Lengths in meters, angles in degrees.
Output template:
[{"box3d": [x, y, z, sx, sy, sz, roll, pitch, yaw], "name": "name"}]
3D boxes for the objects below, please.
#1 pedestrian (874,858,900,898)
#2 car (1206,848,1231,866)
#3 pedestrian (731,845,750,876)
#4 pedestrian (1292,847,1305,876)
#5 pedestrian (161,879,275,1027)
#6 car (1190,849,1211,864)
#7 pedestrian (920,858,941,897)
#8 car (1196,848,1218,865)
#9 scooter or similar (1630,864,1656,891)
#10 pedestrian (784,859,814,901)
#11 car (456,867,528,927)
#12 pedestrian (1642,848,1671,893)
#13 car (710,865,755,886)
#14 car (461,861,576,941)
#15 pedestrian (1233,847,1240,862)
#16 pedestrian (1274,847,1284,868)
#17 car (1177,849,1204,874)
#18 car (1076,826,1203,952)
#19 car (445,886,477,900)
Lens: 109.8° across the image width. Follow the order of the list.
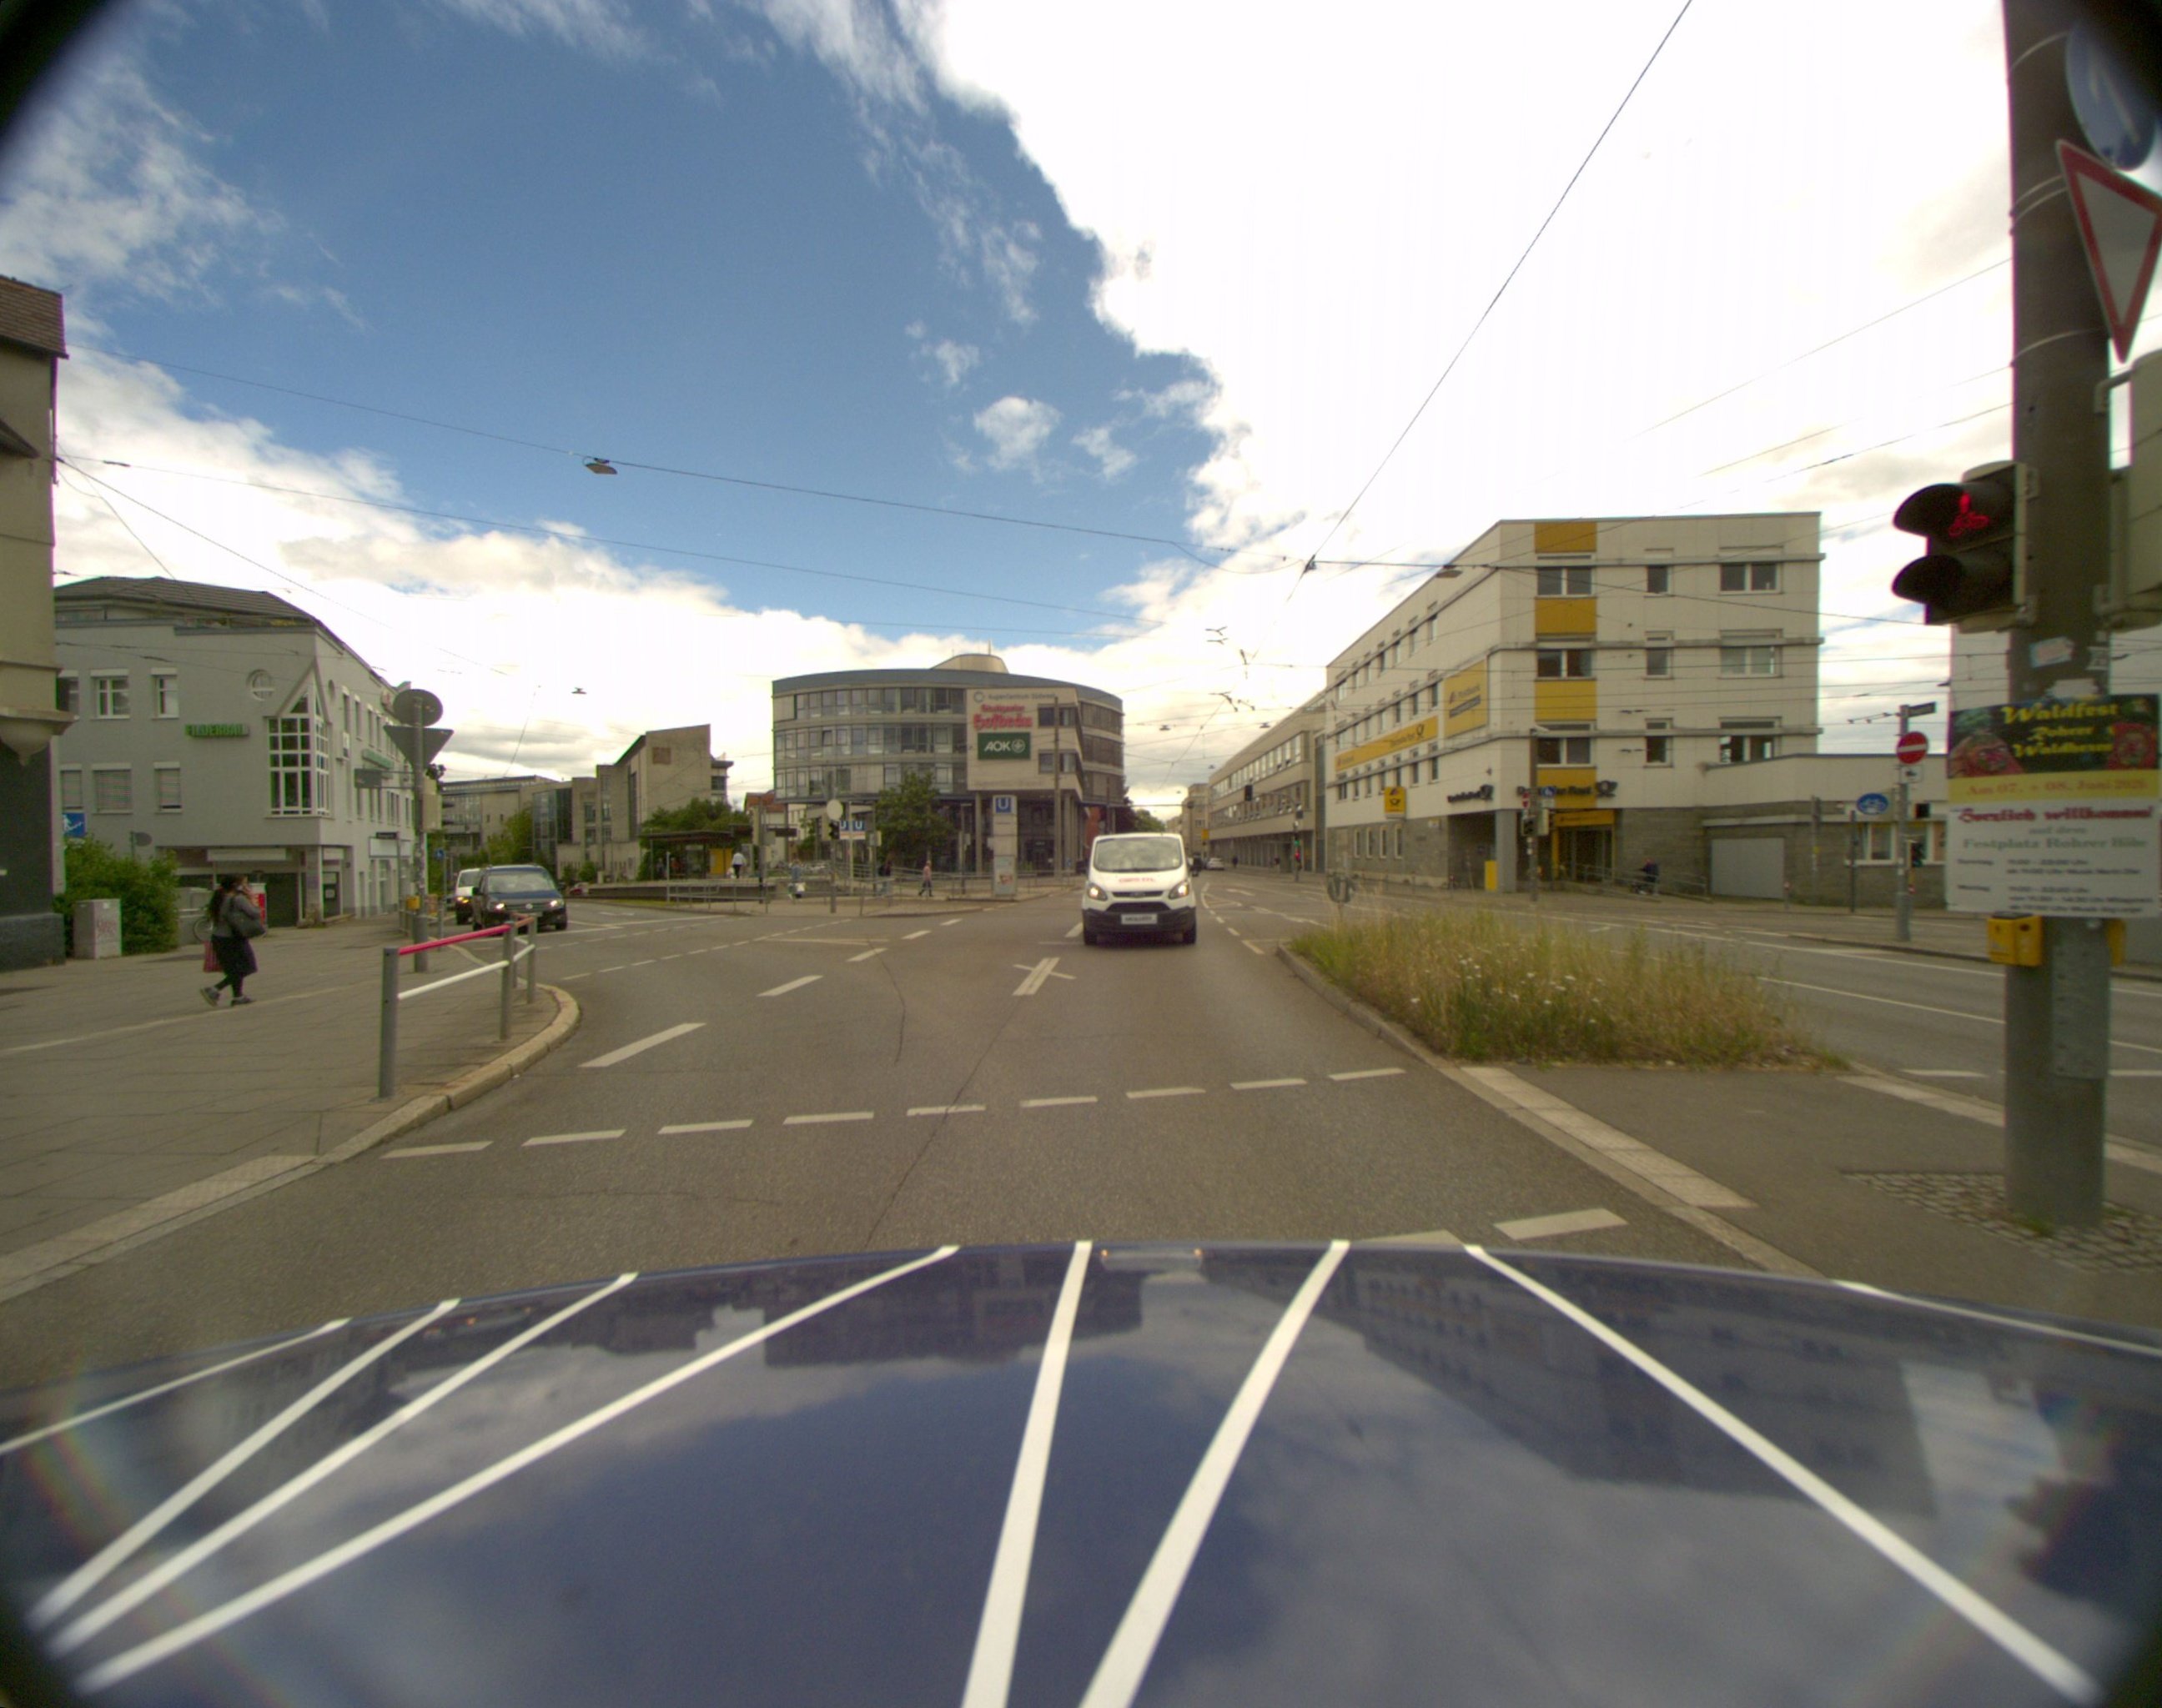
[{"box3d": [-8.394, 1.035, 32.869, 0.847, 1.625, 0.644, -4, 0, -31], "name": "pedestrian"}, {"box3d": [16.207, 0.359, 89.777, 1.998, 2.002, 4.486, -2, 0, 0], "name": "car"}, {"box3d": [-19.726, 0.374, 44.005, 0.613, 1.734, 0.697, -4, 1, 38], "name": "pedestrian"}, {"box3d": [14.001, 0.480, 48.930, 0.587, 1.792, 0.526, -4, 0, 2], "name": "pedestrian"}, {"box3d": [-10.111, 1.121, 8.932, 0.589, 1.613, 0.743, -4, 0, -29], "name": "pedestrian"}, {"box3d": [16.002, 0.309, 101.821, 1.998, 2.002, 4.486, -2, 0, 0], "name": "car"}, {"box3d": [-6.521, 1.032, 32.920, 0.589, 1.625, 0.525, -4, 1, -43], "name": "pedestrian"}, {"box3d": [15.894, 0.337, 95.979, 1.998, 2.002, 4.486, -2, 0, 0], "name": "car"}, {"box3d": [21.091, 0.890, 28.531, 0.508, 0.971, 0.617, -1, 1, -1], "name": "scooter or similar"}, {"box3d": [-11.333, 1.039, 30.495, 0.808, 1.637, 0.885, -2, 1, -43], "name": "pedestrian"}, {"box3d": [-21.444, 1.473, 27.769, 1.884, 1.884, 4.914, -2, 1, -37], "name": "car"}, {"box3d": [21.128, 0.597, 27.894, 0.587, 1.625, 0.615, -1, 1, 2], "name": "pedestrian"}, {"box3d": [-30.244, 1.882, 65.891, 4.306, 1.700, 2.004, -1, 0, 43], "name": "car"}, {"box3d": [-15.519, 1.176, 20.835, 1.884, 1.884, 4.914, -2, 1, -44], "name": "car"}, {"box3d": [18.890, 0.043, 92.279, 0.587, 1.792, 0.526, -4, 0, 2], "name": "pedestrian"}, {"box3d": [16.779, 0.307, 64.348, 0.587, 1.792, 0.526, -4, 0, 2], "name": "pedestrian"}, {"box3d": [9.156, 0.609, 63.774, 1.997, 2.002, 4.488, -2, 0, 6], "name": "car"}, {"box3d": [1.170, 0.571, 14.816, 1.998, 2.002, 5.001, -2, 0, 5], "name": "car"}, {"box3d": [-81.543, 5.059, 99.866, 4.307, 1.700, 2.004, -2, 0, 33], "name": "car"}]
